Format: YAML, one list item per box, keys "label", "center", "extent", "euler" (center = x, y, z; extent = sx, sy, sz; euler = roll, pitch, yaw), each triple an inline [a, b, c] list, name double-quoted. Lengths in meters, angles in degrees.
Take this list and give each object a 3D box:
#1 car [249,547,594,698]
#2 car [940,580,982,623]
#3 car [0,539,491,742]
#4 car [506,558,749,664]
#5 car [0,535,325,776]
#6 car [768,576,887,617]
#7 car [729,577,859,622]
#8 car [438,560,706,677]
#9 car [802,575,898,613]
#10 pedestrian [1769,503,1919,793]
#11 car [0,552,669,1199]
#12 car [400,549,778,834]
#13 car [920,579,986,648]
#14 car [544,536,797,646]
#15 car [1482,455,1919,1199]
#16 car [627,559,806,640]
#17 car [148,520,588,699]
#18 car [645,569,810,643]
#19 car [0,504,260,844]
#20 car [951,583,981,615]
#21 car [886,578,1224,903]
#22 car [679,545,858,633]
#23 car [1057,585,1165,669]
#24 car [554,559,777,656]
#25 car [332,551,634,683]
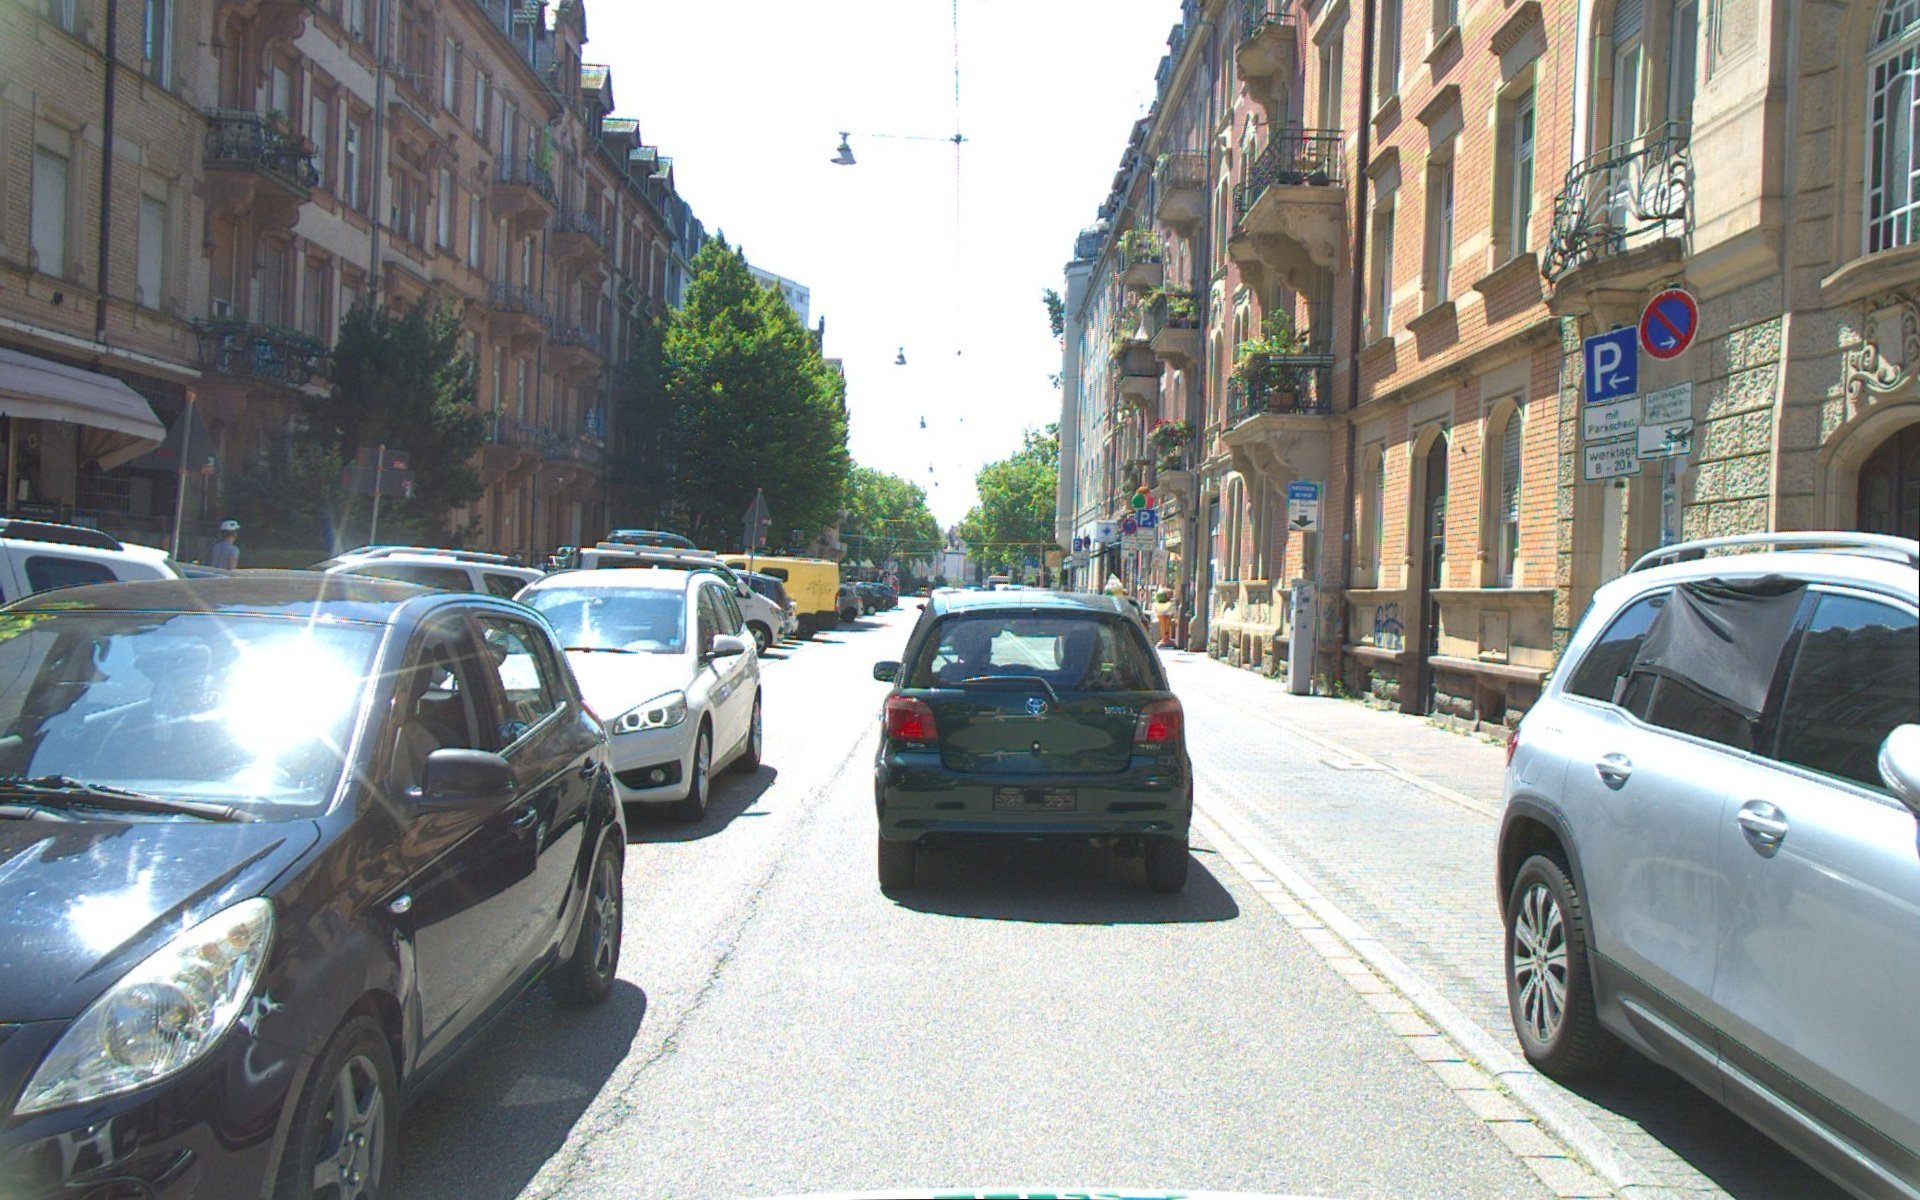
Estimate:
- label: "car"
  center: [-6.690, 0.276, 20.563]
  extent: [3.858, 1.647, 1.852]
  euler: [3, 0, -24]
- label: "car"
  center: [0.053, 0.031, 66.895]
  extent: [1.491, 1.620, 3.265]
  euler: [3, 1, 2]
- label: "car"
  center: [-6.231, 0.333, 14.065]
  extent: [3.882, 1.495, 1.841]
  euler: [3, 0, -38]
- label: "car"
  center: [-5.886, 0.191, 29.255]
  extent: [3.858, 1.647, 1.852]
  euler: [3, 0, -24]
- label: "car"
  center: [-6.364, 0.323, 11.232]
  extent: [3.580, 1.483, 1.609]
  euler: [4, 0, -30]
- label: "car"
  center: [-5.484, -0.124, 68.642]
  extent: [4.504, 1.453, 1.983]
  euler: [3, 0, -27]
- label: "car"
  center: [-6.320, -0.018, 63.052]
  extent: [4.504, 1.459, 1.983]
  euler: [3, 0, -27]
- label: "car"
  center: [-6.189, 0.290, 26.346]
  extent: [3.858, 1.647, 1.852]
  euler: [3, 0, -24]
- label: "car"
  center: [-5.696, -0.308, 85.786]
  extent: [4.552, 1.756, 1.983]
  euler: [3, 0, -27]
- label: "pedestrian"
  center: [5.643, 0.292, 10.563]
  extent: [0.502, 1.781, 0.748]
  euler: [1, 1, -7]
- label: "car"
  center: [-2.046, 0.627, 4.537]
  extent: [1.718, 1.469, 4.000]
  euler: [2, 0, 0]
- label: "car"
  center: [-2.433, 0.525, 11.965]
  extent: [1.718, 1.674, 4.378]
  euler: [0, 0, 0]
- label: "car"
  center: [-0.168, 0.287, 40.542]
  extent: [1.491, 1.547, 3.263]
  euler: [3, 1, -1]
- label: "car"
  center: [-5.983, -0.174, 34.313]
  extent: [4.720, 2.029, 2.034]
  euler: [3, 0, -29]
- label: "car"
  center: [2.816, 0.598, 3.836]
  extent: [1.833, 1.743, 4.504]
  euler: [1, 0, 1]
- label: "car"
  center: [-5.828, -0.015, 39.595]
  extent: [3.858, 1.738, 1.852]
  euler: [3, 0, -24]
- label: "car"
  center: [-6.094, 0.124, 17.237]
  extent: [3.887, 1.647, 1.839]
  euler: [3, 0, -41]
- label: "car"
  center: [-5.933, 0.155, 42.199]
  extent: [3.810, 1.668, 1.773]
  euler: [3, 0, -24]
- label: "car"
  center: [-5.896, 0.276, 8.723]
  extent: [3.933, 1.686, 1.748]
  euler: [4, 0, -23]
- label: "car"
  center: [0.333, -0.071, 89.973]
  extent: [1.492, 1.620, 3.263]
  euler: [3, 1, -1]
- label: "car"
  center: [0.386, 0.655, 9.496]
  extent: [1.581, 1.511, 3.239]
  euler: [1, 1, -3]
- label: "car"
  center: [-5.362, -0.297, 46.336]
  extent: [4.504, 2.225, 1.983]
  euler: [3, 0, -27]
- label: "car"
  center: [2.871, 0.479, 32.110]
  extent: [1.718, 1.454, 4.000]
  euler: [2, 0, 0]
- label: "car"
  center: [-5.666, 0.145, 31.794]
  extent: [3.858, 1.647, 1.852]
  euler: [3, 0, -24]
- label: "car"
  center: [-6.753, 0.237, 23.394]
  extent: [3.858, 1.647, 1.852]
  euler: [3, 0, -24]
